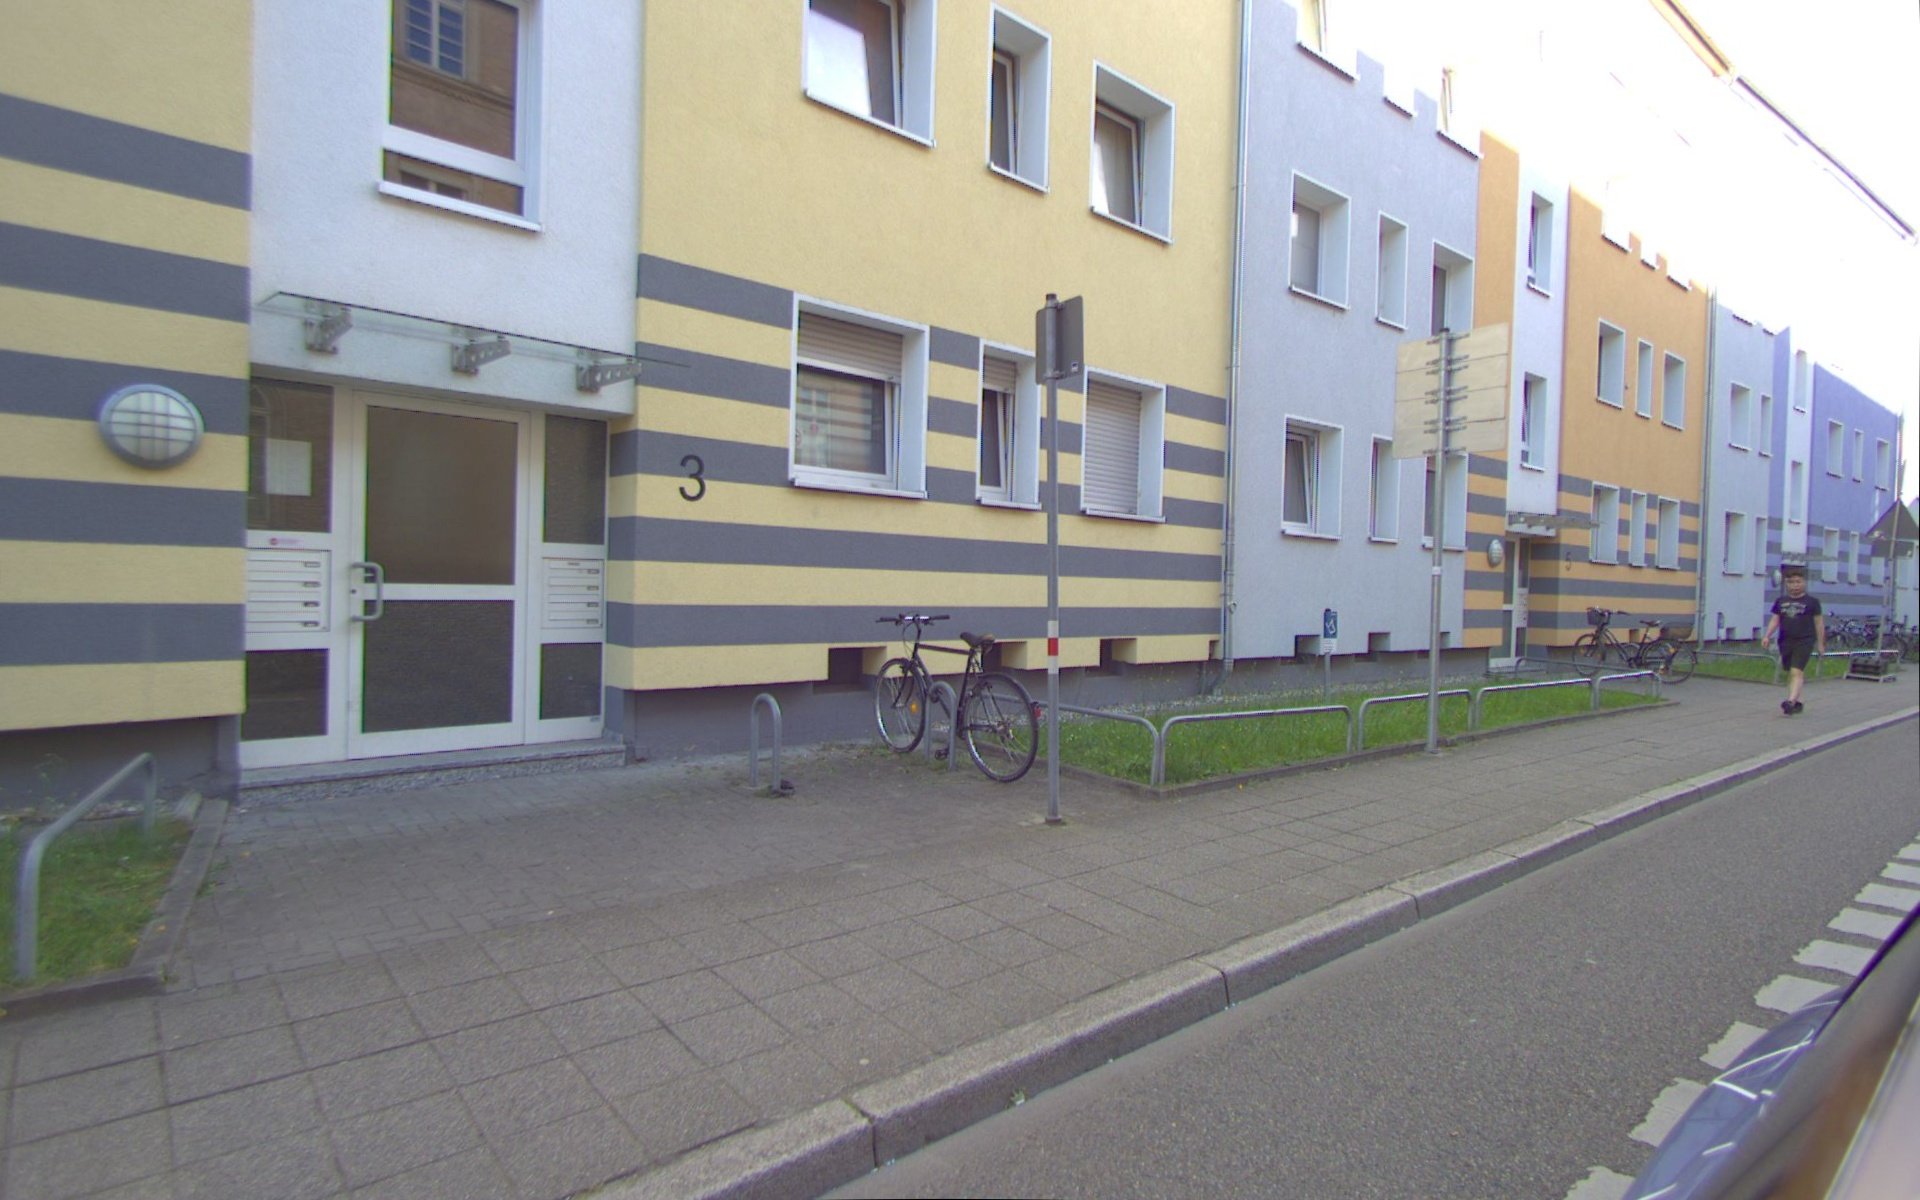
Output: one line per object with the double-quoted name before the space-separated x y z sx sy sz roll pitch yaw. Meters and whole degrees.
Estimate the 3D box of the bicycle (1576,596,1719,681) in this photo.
"bicycle" 10.763 0.569 15.885 0.625 1.173 1.709 1 3 -42

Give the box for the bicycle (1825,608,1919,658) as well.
"bicycle" 22.300 0.788 24.692 0.624 1.058 1.711 1 2 -39

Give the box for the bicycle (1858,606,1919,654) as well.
"bicycle" 23.456 0.749 25.061 0.625 1.095 1.711 1 2 -40

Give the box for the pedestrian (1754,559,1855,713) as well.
"pedestrian" 10.489 0.425 12.570 0.898 1.810 0.646 1 4 -38

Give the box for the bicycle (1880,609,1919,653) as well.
"bicycle" 24.230 0.812 25.315 0.625 1.048 1.709 1 3 -42

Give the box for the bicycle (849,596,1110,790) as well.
"bicycle" 0.069 0.564 7.064 0.625 1.074 1.946 1 3 -42
